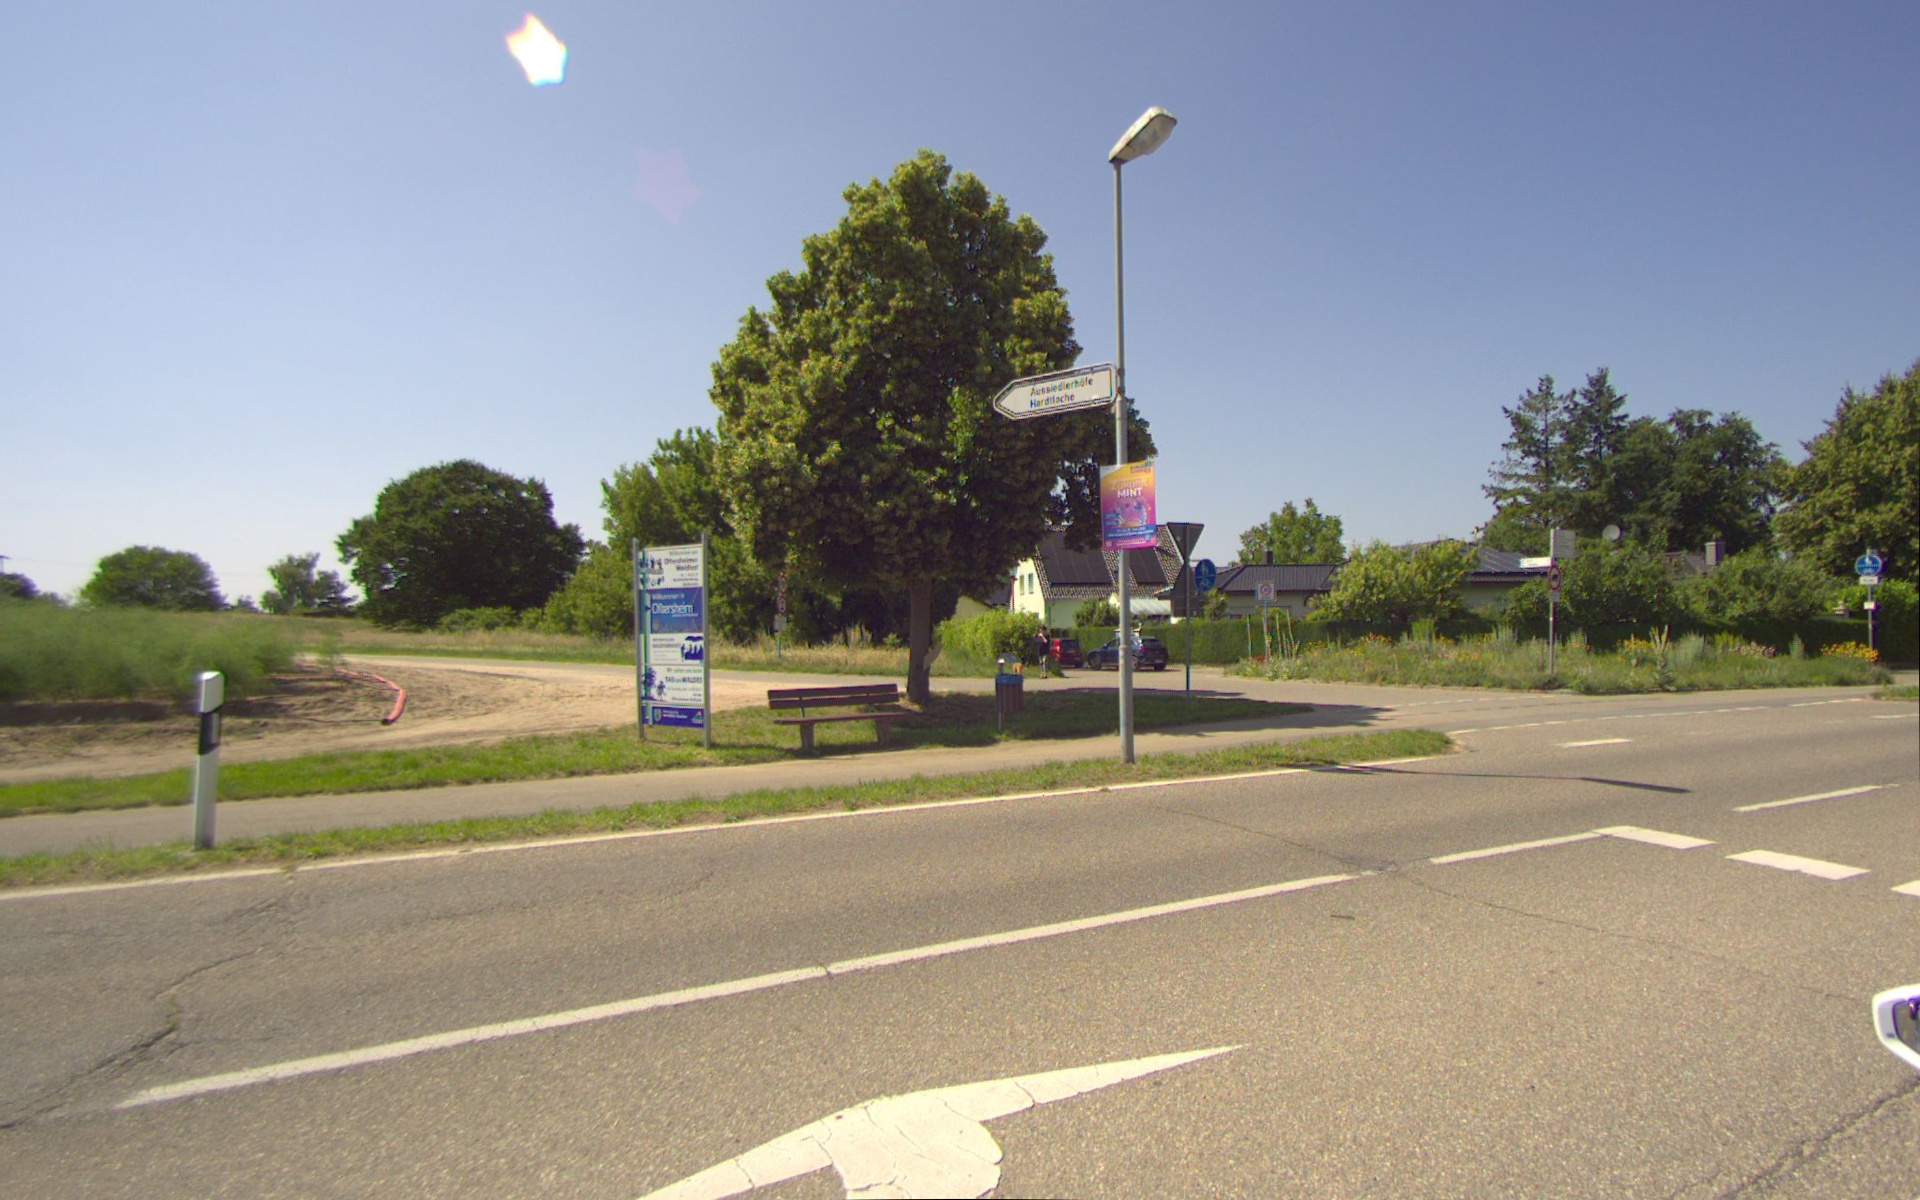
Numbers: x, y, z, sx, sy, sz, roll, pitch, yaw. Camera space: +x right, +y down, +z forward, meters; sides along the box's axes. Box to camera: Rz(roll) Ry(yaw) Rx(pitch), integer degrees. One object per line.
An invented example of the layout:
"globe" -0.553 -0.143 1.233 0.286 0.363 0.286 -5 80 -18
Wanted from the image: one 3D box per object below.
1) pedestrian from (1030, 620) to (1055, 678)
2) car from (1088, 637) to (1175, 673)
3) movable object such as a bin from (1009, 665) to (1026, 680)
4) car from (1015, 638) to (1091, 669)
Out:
"pedestrian" 2.508 1.484 30.548 0.541 1.739 0.675 0 -1 28
"car" 7.937 2.547 46.894 1.859 1.539 3.969 -1 -2 -30
"movable object such as a bin" 1.746 2.182 30.433 0.313 0.416 0.764 0 -1 18
"car" 4.770 2.773 52.212 1.977 1.539 3.967 1 -3 -31
